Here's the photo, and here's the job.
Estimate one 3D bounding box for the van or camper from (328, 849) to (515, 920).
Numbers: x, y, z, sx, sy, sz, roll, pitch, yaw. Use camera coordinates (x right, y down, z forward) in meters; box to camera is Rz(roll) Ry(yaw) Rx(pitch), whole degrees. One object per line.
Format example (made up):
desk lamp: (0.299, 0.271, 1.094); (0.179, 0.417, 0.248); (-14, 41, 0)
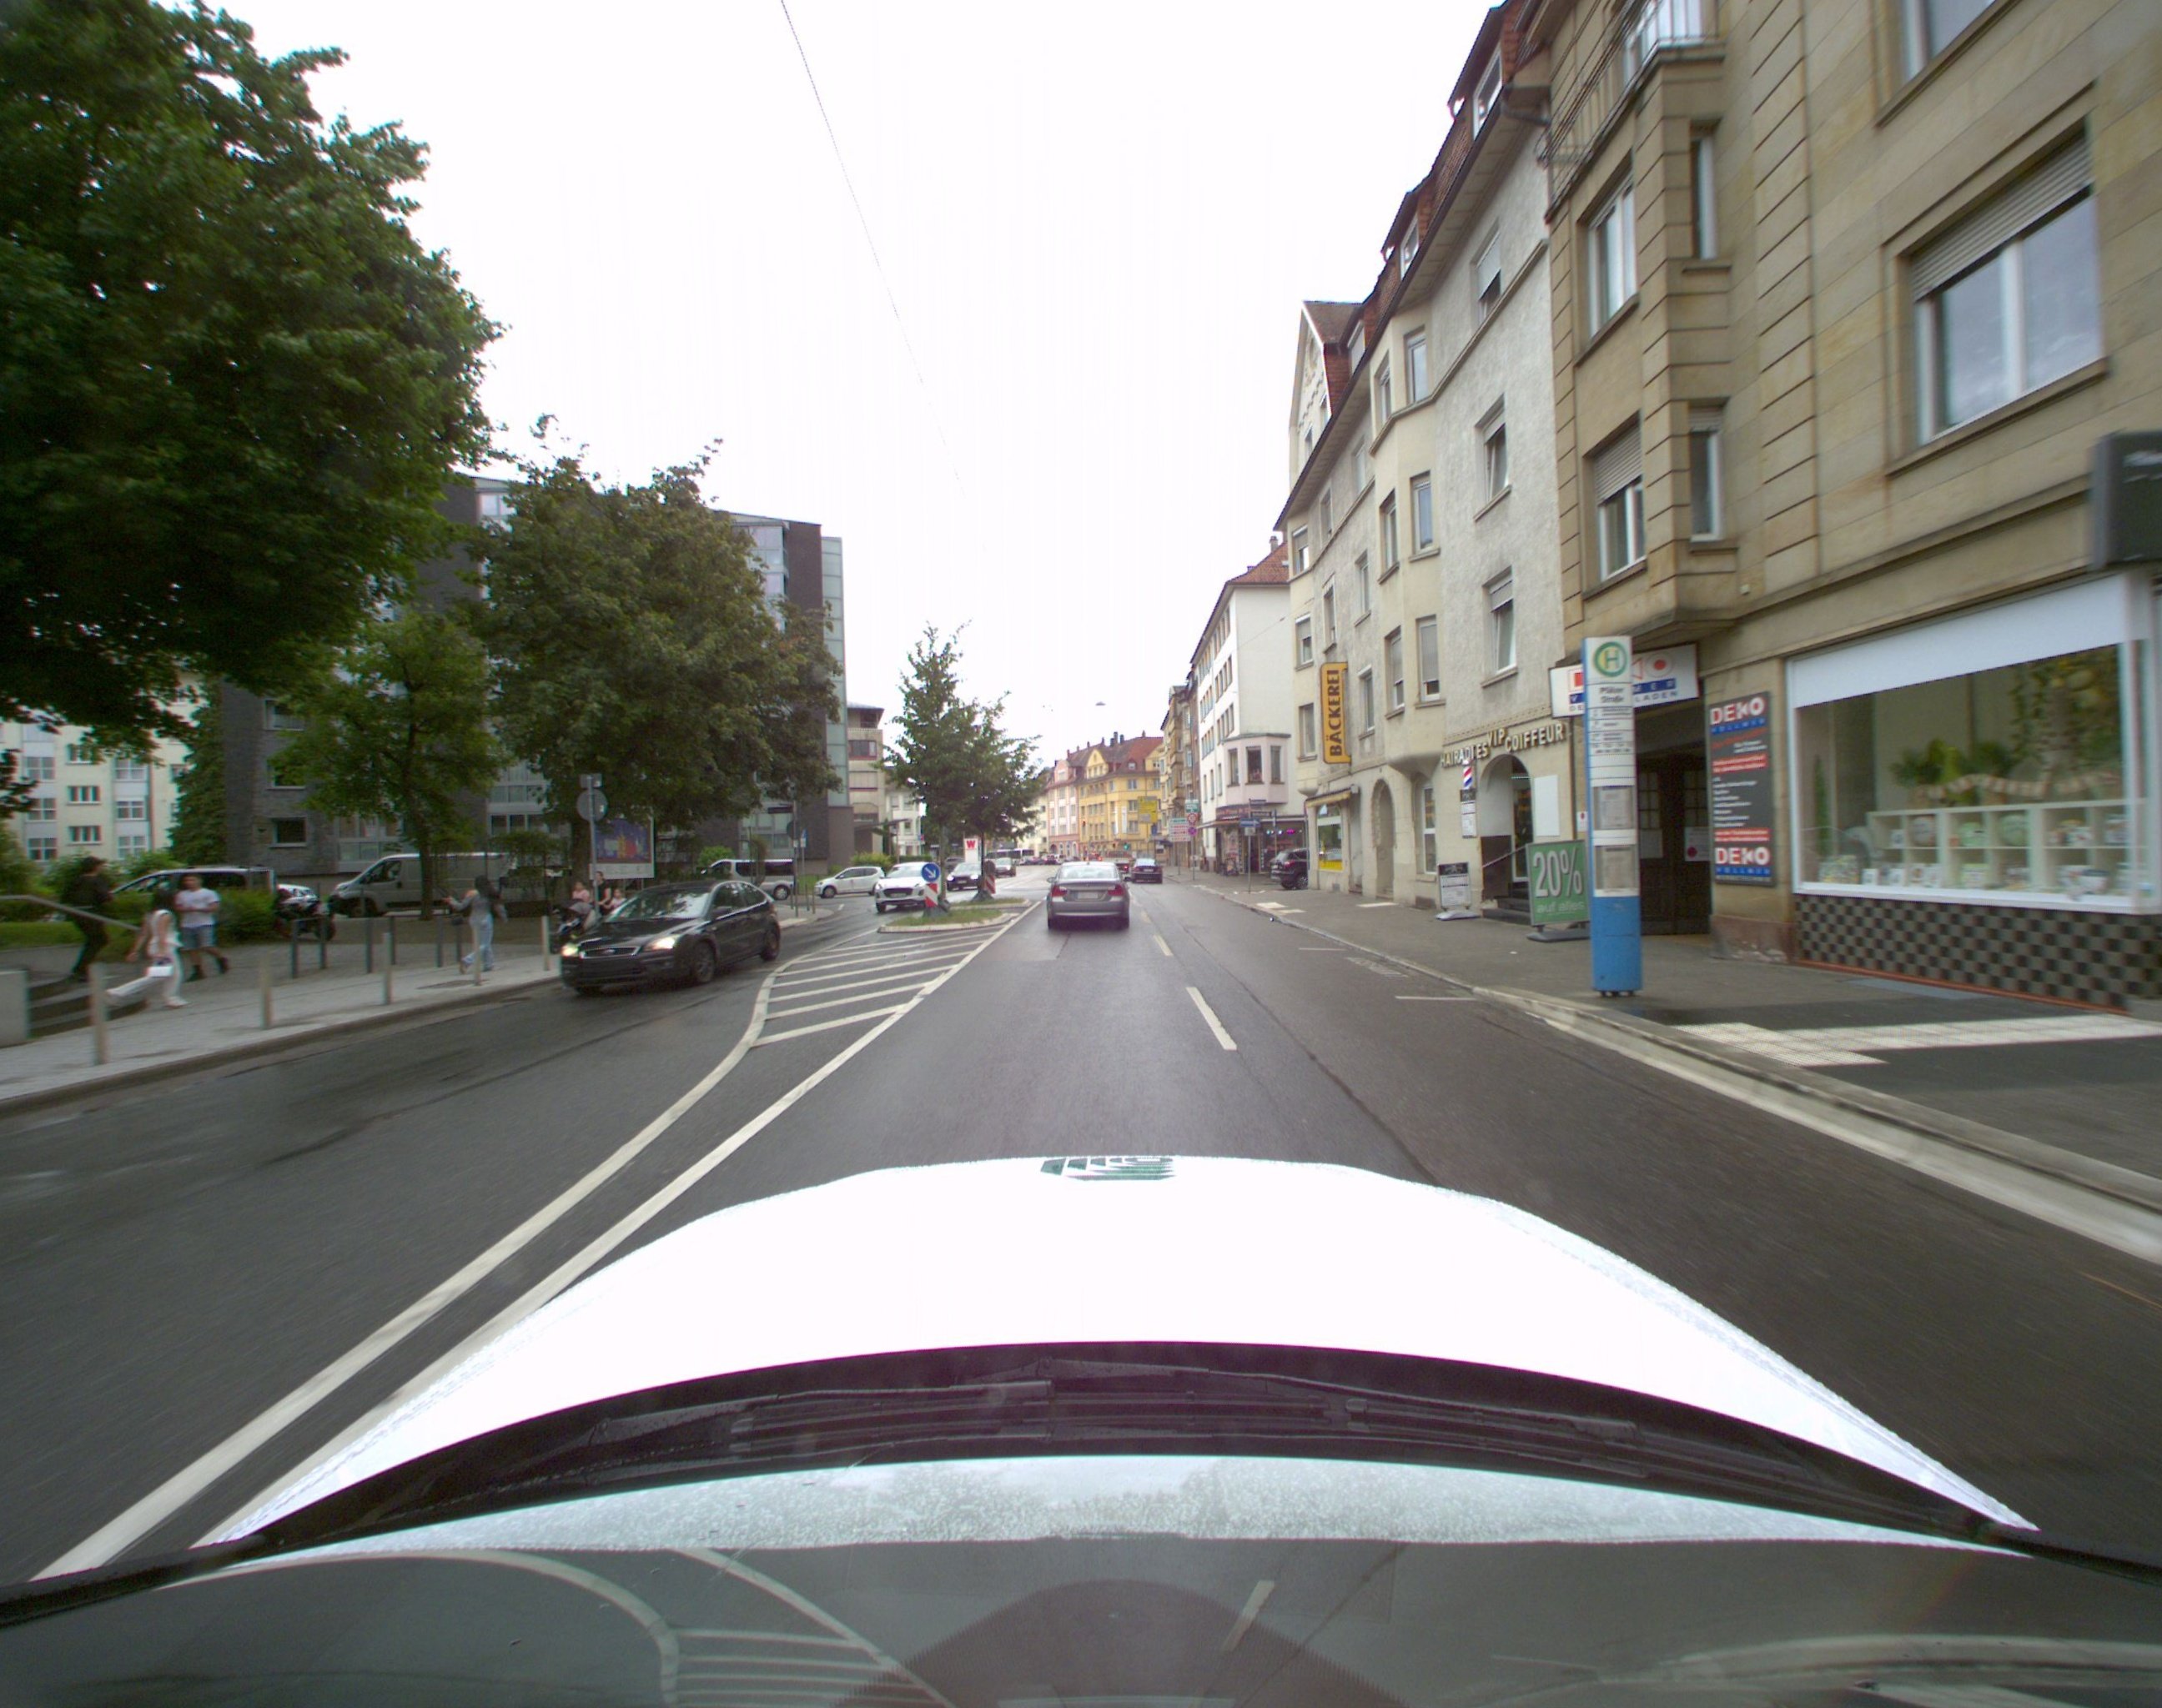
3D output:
van or camper: (-22.510, 0.992, 28.098); (4.629, 2.266, 2.192); (1, 0, -28)

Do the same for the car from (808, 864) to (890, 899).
car: (-11.512, 1.329, 40.502); (3.601, 1.569, 1.723); (-1, 0, -32)

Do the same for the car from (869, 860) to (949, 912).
car: (-5.859, 1.046, 28.178); (1.814, 1.569, 4.089); (-3, 0, 0)

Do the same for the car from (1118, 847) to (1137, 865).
car: (5.460, 0.279, 96.267); (1.987, 2.013, 4.000); (-1, 0, 0)

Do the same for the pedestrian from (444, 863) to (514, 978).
pedestrian: (-10.095, 1.076, 13.683); (0.724, 1.826, 0.848); (-1, 0, -22)

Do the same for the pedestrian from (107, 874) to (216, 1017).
pedestrian: (-11.952, 1.153, 10.613); (0.657, 1.759, 0.716); (-2, 0, -22)

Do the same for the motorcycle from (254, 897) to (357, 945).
motorcycle: (-18.123, 1.540, 19.035); (2.037, 0.987, 0.800); (1, 0, 16)

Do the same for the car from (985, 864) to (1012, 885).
car: (-7.210, 1.774, 70.673); (1.949, 1.659, 4.041); (-2, 0, -11)

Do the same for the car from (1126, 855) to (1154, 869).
car: (8.855, 1.260, 122.346); (3.963, 2.014, 2.005); (1, -1, 10)

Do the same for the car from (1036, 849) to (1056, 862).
car: (-5.412, 0.218, 126.668); (2.000, 2.013, 3.973); (-2, 0, -20)

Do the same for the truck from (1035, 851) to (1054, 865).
truck: (-6.545, 0.704, 146.169); (2.035, 2.389, 4.203); (2, 0, -24)

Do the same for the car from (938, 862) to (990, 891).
car: (-6.160, 1.168, 43.324); (2.006, 1.425, 4.501); (-1, 0, 1)

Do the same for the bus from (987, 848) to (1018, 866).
bus: (-14.364, 0.537, 148.496); (2.923, 3.105, 8.798); (-2, 0, -25)

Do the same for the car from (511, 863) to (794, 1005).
car: (-6.130, 1.032, 12.368); (1.949, 1.556, 4.242); (-5, 0, -1)

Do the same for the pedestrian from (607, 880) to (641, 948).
pedestrian: (-9.755, 1.270, 17.378); (0.432, 1.410, 0.481); (-1, 0, -2)

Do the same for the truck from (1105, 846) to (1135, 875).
truck: (3.091, 0.517, 65.969); (2.217, 2.249, 5.063); (-1, 0, 1)

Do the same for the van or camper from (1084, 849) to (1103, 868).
van or camper: (1.386, 0.492, 91.528); (1.850, 2.146, 4.140); (-1, 0, -2)

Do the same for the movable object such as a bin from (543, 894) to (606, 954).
movable object such as a bin: (-10.320, 1.412, 16.622); (0.702, 1.134, 0.965); (0, 0, -2)

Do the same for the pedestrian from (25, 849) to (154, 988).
pedestrian: (-13.805, 0.867, 11.369); (0.860, 1.844, 0.691); (-2, 0, -13)

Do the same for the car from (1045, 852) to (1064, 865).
car: (-4.595, 0.843, 140.619); (1.770, 2.180, 3.968); (2, -1, -24)

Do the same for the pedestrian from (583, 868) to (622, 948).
pedestrian: (-10.247, 1.140, 17.452); (0.496, 1.673, 0.552); (-1, 0, -2)

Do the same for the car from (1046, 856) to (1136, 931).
car: (0.222, 0.798, 18.510); (1.793, 1.464, 4.370); (-1, 0, 0)

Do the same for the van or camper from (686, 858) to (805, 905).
van or camper: (-15.676, 1.227, 38.074); (4.980, 2.013, 1.982); (-1, 0, -28)

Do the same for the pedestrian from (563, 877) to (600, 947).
pedestrian: (-10.746, 1.239, 17.538); (0.458, 1.473, 0.530); (-1, 0, -2)

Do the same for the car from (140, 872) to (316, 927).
car: (-31.460, 1.628, 30.205); (4.006, 1.728, 1.984); (-2, 0, -25)

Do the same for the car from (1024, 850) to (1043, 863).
car: (-7.741, 0.374, 132.510); (2.000, 2.013, 3.973); (-2, 0, -20)

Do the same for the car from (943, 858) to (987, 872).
car: (-12.452, 1.174, 87.606); (4.437, 1.526, 1.883); (1, 0, -4)

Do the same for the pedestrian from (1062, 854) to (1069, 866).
pedestrian: (-1.950, 0.708, 103.854); (0.763, 1.529, 0.505); (0, -2, -20)

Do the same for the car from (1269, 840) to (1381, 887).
car: (9.860, 0.382, 33.209); (4.115, 1.772, 1.877); (-1, 0, 7)

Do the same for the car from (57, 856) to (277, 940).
car: (-28.177, 1.287, 25.320); (4.009, 2.255, 1.982); (-2, 0, -27)

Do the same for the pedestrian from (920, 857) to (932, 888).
pedestrian: (-9.028, 1.049, 47.300); (0.573, 1.762, 0.580); (-2, 0, -5)

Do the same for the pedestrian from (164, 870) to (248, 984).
pedestrian: (-14.755, 1.206, 13.755); (0.725, 1.826, 0.715); (-1, 0, -27)

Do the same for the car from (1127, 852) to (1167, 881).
car: (3.691, 0.716, 46.135); (1.794, 1.563, 3.997); (-1, -1, -2)

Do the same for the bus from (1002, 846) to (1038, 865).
bus: (-10.597, 0.290, 140.421); (2.924, 3.105, 9.065); (-2, 0, -26)
